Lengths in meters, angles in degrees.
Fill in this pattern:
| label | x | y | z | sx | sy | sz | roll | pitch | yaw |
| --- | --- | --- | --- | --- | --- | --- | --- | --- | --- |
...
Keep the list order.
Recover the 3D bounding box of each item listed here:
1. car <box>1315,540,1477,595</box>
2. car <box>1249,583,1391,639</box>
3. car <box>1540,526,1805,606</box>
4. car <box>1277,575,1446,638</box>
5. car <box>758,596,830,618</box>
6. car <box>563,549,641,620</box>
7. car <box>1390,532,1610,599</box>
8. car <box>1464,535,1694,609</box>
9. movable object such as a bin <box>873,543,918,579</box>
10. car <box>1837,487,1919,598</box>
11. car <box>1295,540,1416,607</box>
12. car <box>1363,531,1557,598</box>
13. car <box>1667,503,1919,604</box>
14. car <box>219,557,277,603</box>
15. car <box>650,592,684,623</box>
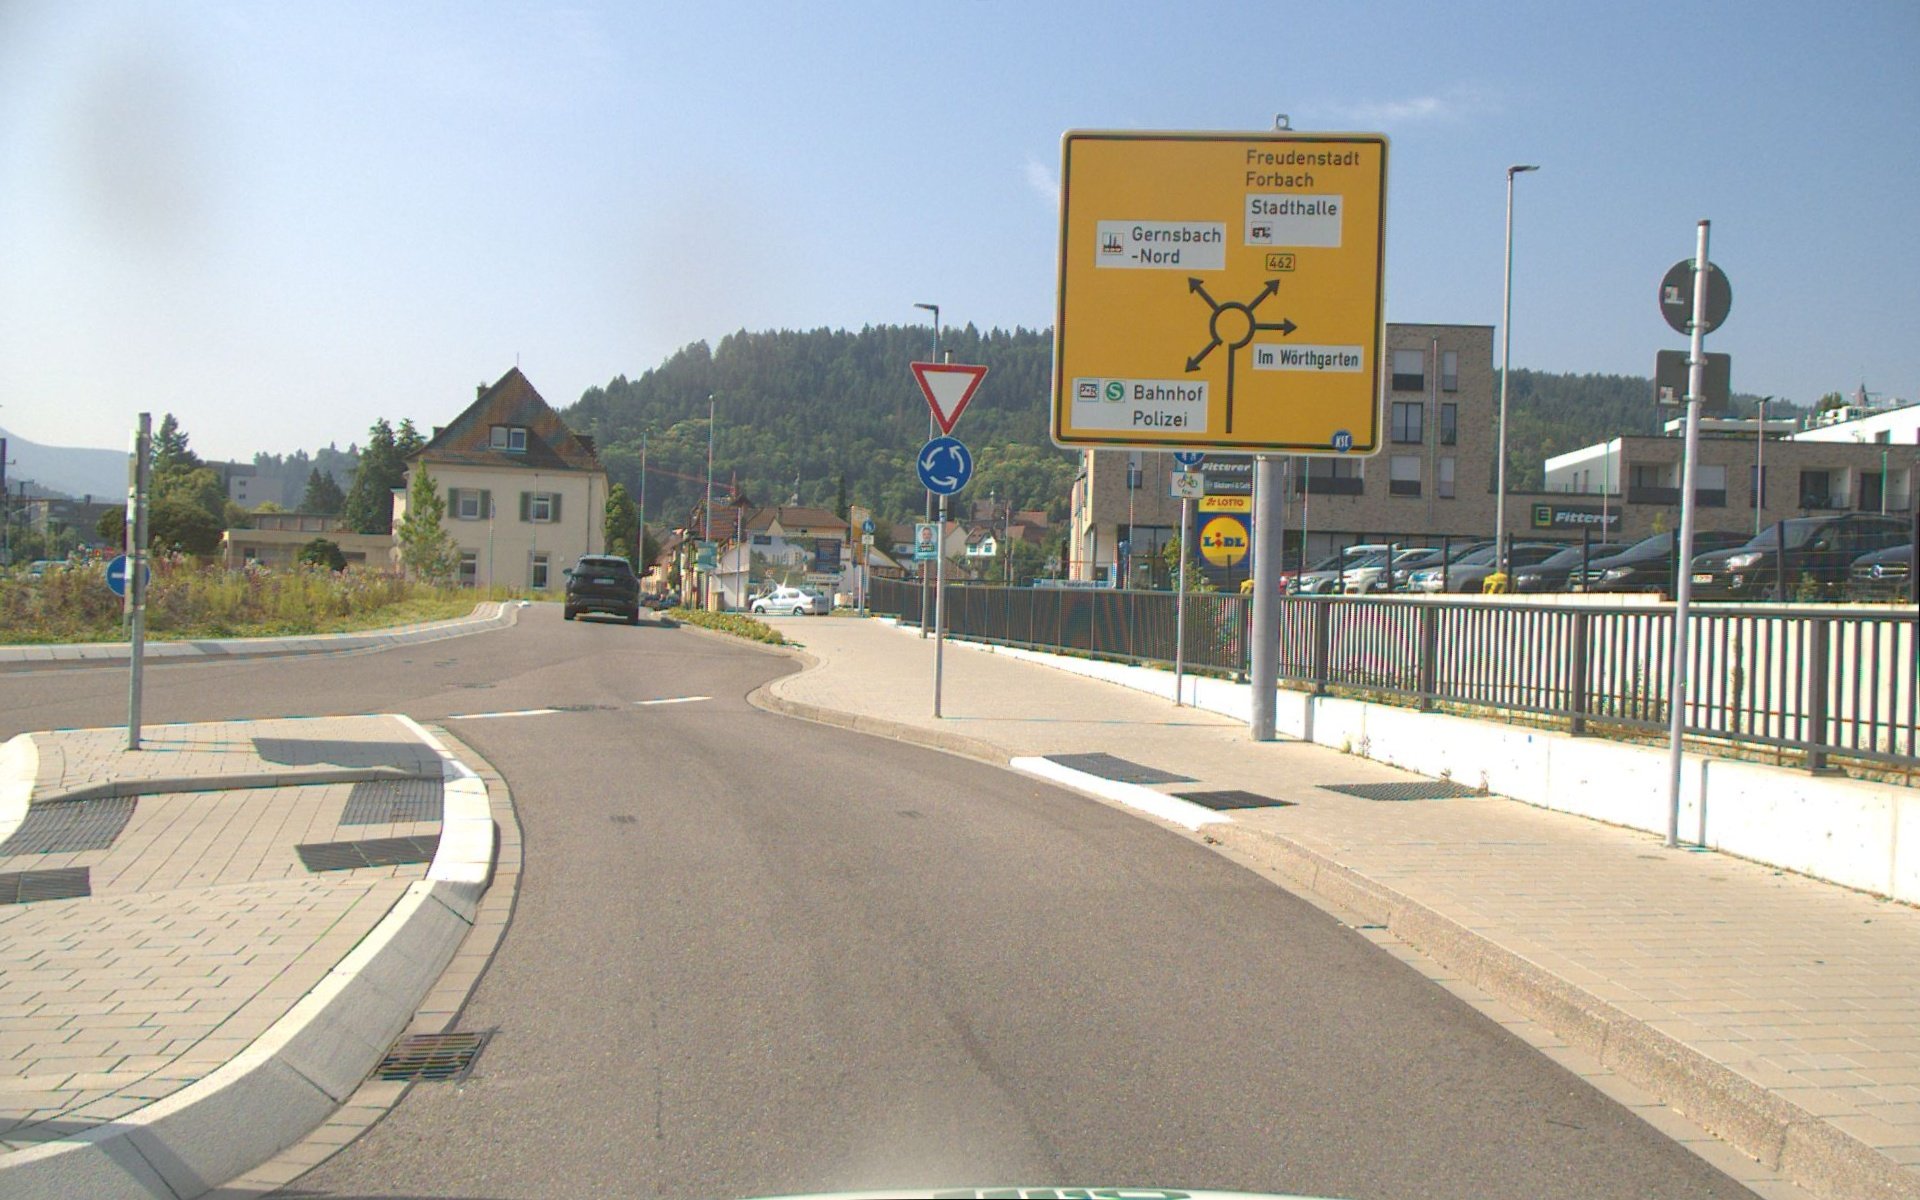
| label | x | y | z | sx | sy | sz | roll | pitch | yaw |
| --- | --- | --- | --- | --- | --- | --- | --- | --- | --- |
| car | 10.803 | -0.789 | 41.055 | 3.492 | 1.220 | 1.710 | 2 | 0 | -12 |
| car | 10.082 | 0.302 | 46.387 | 3.492 | 1.455 | 1.706 | 2 | 0 | -12 |
| car | 12.803 | -0.592 | 29.784 | 4.139 | 1.267 | 1.739 | 2 | 0 | -12 |
| car | 10.598 | 0.162 | 43.793 | 3.981 | 1.513 | 1.713 | 2 | 0 | -9 |
| car | -7.847 | 0.331 | 78.202 | 3.208 | 0.981 | 1.347 | 0 | -1 | 30 |
| car | -9.207 | -0.362 | 42.652 | 1.848 | 1.713 | 3.988 | 1 | -1 | -12 |
| car | 11.522 | -0.717 | 35.360 | 4.203 | 1.267 | 1.659 | 2 | 0 | -12 |
| car | 12.062 | -0.530 | 32.318 | 3.896 | 1.267 | 1.725 | 2 | 0 | -12 |
| movable object such as a bin | -3.516 | -2.134 | 89.987 | 2.394 | 1.876 | 1.427 | 1 | -1 | -3 |
| car | 14.313 | -0.709 | 22.718 | 3.990 | 1.429 | 1.481 | 2 | 0 | -12 |
| car | 13.495 | -0.893 | 56.648 | 3.902 | 2.173 | 2.002 | 1 | -1 | 10 |
| car | 11.478 | -0.795 | 38.041 | 3.965 | 1.366 | 1.655 | 2 | 0 | -12 |
| car | 13.630 | -0.711 | 26.527 | 3.934 | 1.428 | 1.720 | 2 | 0 | -12 |
| car | -32.912 | -0.924 | 76.515 | 1.779 | 2.049 | 3.986 | 1 | 1 | -14 |
| car | -20.216 | 0.531 | 114.032 | 1.960 | 2.049 | 3.984 | 1 | -1 | -15 |
